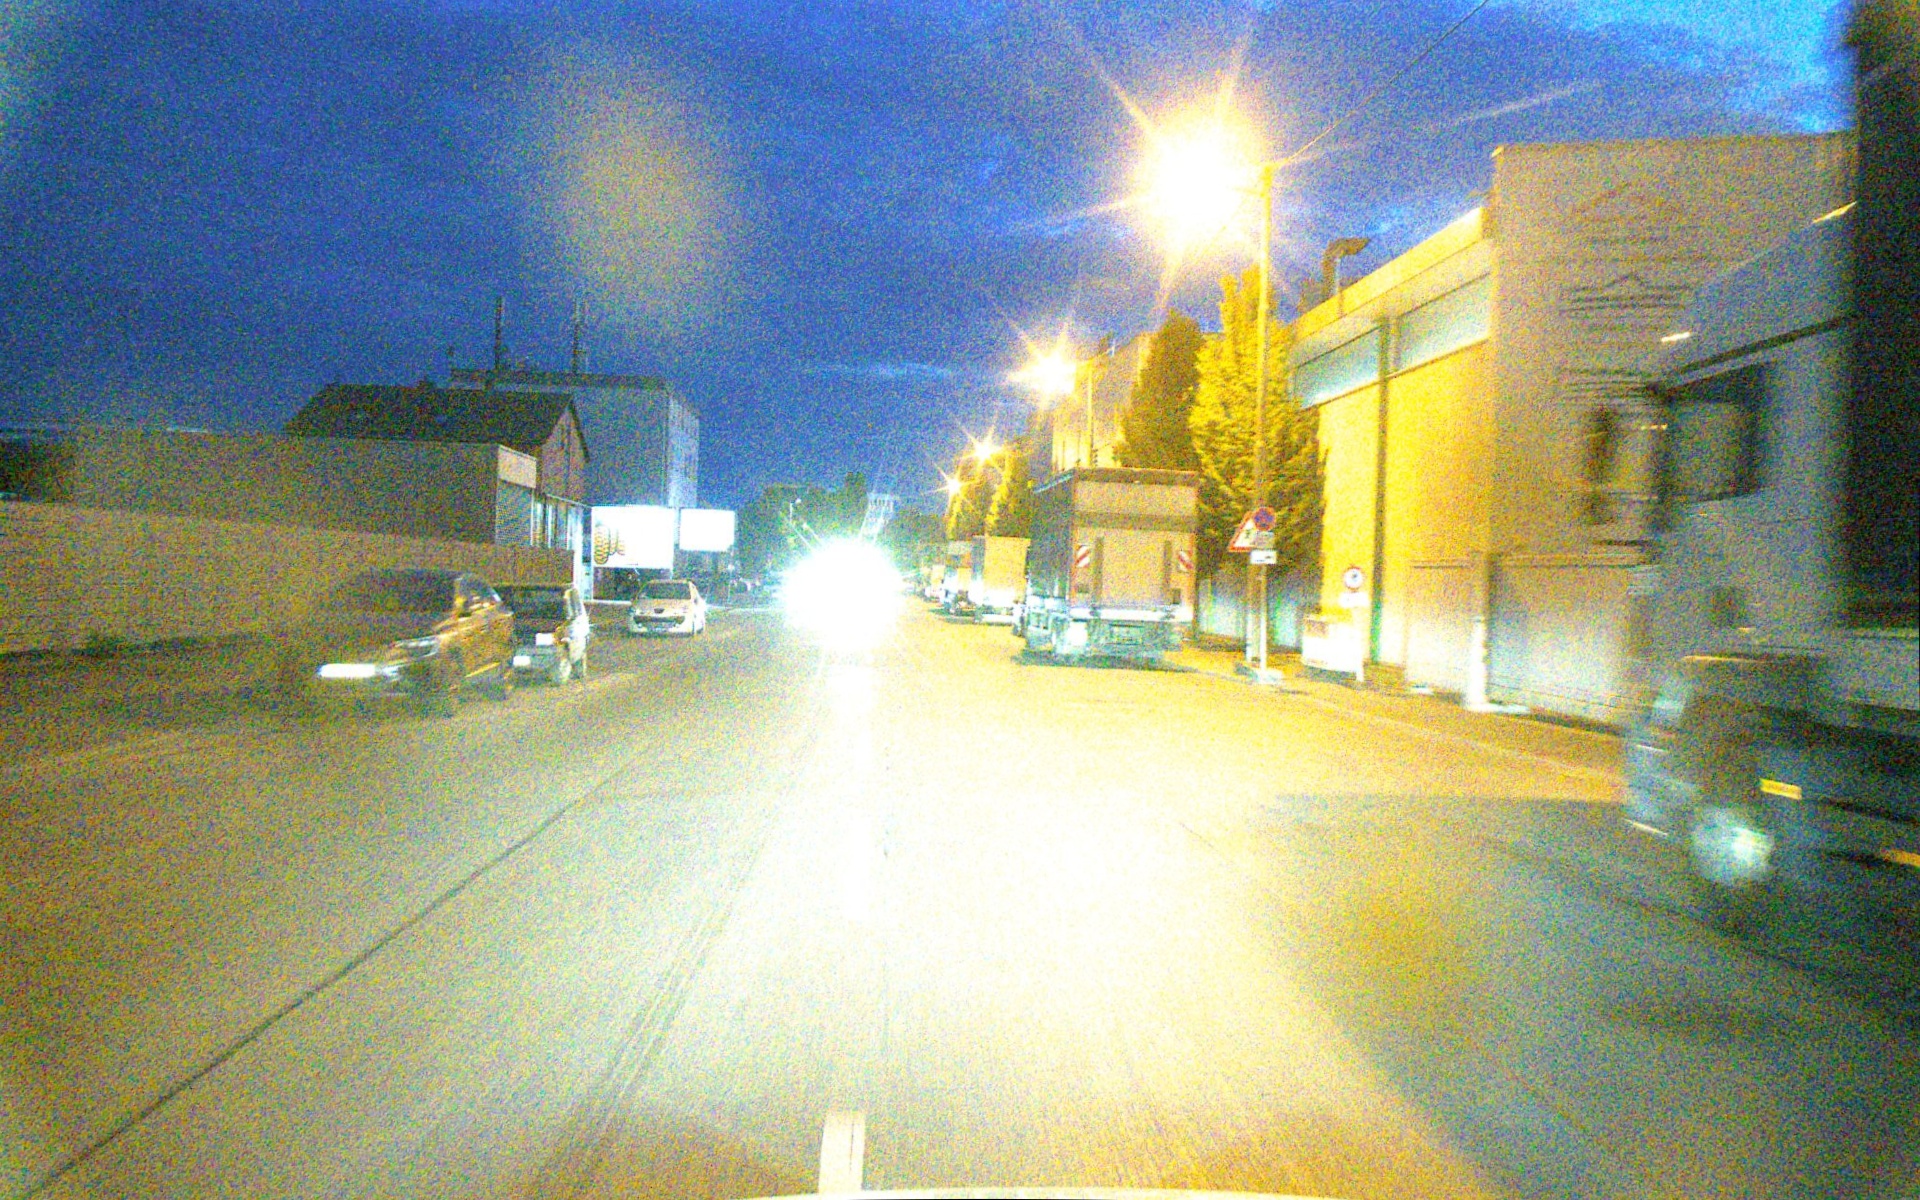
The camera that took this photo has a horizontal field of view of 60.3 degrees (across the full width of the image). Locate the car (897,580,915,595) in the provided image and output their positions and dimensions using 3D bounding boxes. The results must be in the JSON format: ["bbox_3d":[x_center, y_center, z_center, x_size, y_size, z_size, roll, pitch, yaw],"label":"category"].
[{"bbox_3d":[-6.298,-1.468,193.613,1.954,1.713,3.998,2,0,-3],"label":"car"}]

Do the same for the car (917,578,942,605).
[{"bbox_3d":[-2.656,-0.727,143.397,1.954,2.183,3.998,2,0,-3],"label":"car"}]

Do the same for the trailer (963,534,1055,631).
[{"bbox_3d":[1.833,-0.665,65.795,2.634,3.525,7.801,2,0,-5],"label":"trailer"}]

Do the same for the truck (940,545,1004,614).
[{"bbox_3d":[0.586,-1.061,89.217,3.088,3.524,6.669,1,0,-3],"label":"truck"}]

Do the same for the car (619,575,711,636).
[{"bbox_3d":[-7.582,0.129,42.831,1.804,1.445,3.998,2,0,-3],"label":"car"}]

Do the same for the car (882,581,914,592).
[{"bbox_3d":[-8.909,-1.882,238.054,4.438,1.404,2.000,2,0,0],"label":"car"}]

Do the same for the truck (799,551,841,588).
[{"bbox_3d":[-14.626,-3.131,172.356,3.817,3.684,8.246,2,0,-8],"label":"truck"}]

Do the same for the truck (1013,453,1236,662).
[{"bbox_3d":[3.397,-0.815,37.531,3.450,4.053,10.335,1,0,-3],"label":"truck"}]

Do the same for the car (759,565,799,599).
[{"bbox_3d":[-10.403,-1.024,95.228,1.954,1.825,3.998,2,0,-3],"label":"car"}]

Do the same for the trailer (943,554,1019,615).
[{"bbox_3d":[0.917,-0.700,82.085,3.120,2.797,10.709,1,0,-3],"label":"trailer"}]

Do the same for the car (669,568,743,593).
[{"bbox_3d":[-17.133,-1.334,111.524,4.555,1.511,1.984,2,0,-25],"label":"car"}]

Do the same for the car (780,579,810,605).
[{"bbox_3d":[-12.048,-0.589,121.025,1.859,1.766,4.353,2,0,-3],"label":"car"}]

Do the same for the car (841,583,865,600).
[{"bbox_3d":[-9.320,-0.773,144.708,1.954,1.422,3.998,2,0,-3],"label":"car"}]

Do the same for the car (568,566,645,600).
[{"bbox_3d":[-19.626,-0.936,91.901,3.910,1.680,1.998,2,0,-6],"label":"car"}]

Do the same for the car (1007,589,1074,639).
[{"bbox_3d":[2.544,0.440,53.129,1.815,1.545,3.816,1,0,-2],"label":"car"}]

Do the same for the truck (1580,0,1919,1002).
[{"bbox_3d":[4.859,-0.566,4.115,2.772,4.053,10.342,1,0,0],"label":"truck"}]

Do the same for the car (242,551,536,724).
[{"bbox_3d":[-6.359,0.382,19.053,1.954,1.665,4.770,2,0,-4],"label":"car"}]

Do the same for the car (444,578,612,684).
[{"bbox_3d":[-6.273,0.408,24.416,1.570,1.377,3.998,2,0,-3],"label":"car"}]

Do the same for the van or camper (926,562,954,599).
[{"bbox_3d":[-1.514,-1.463,123.038,1.953,2.626,4.913,2,0,-2],"label":"van or camper"}]
